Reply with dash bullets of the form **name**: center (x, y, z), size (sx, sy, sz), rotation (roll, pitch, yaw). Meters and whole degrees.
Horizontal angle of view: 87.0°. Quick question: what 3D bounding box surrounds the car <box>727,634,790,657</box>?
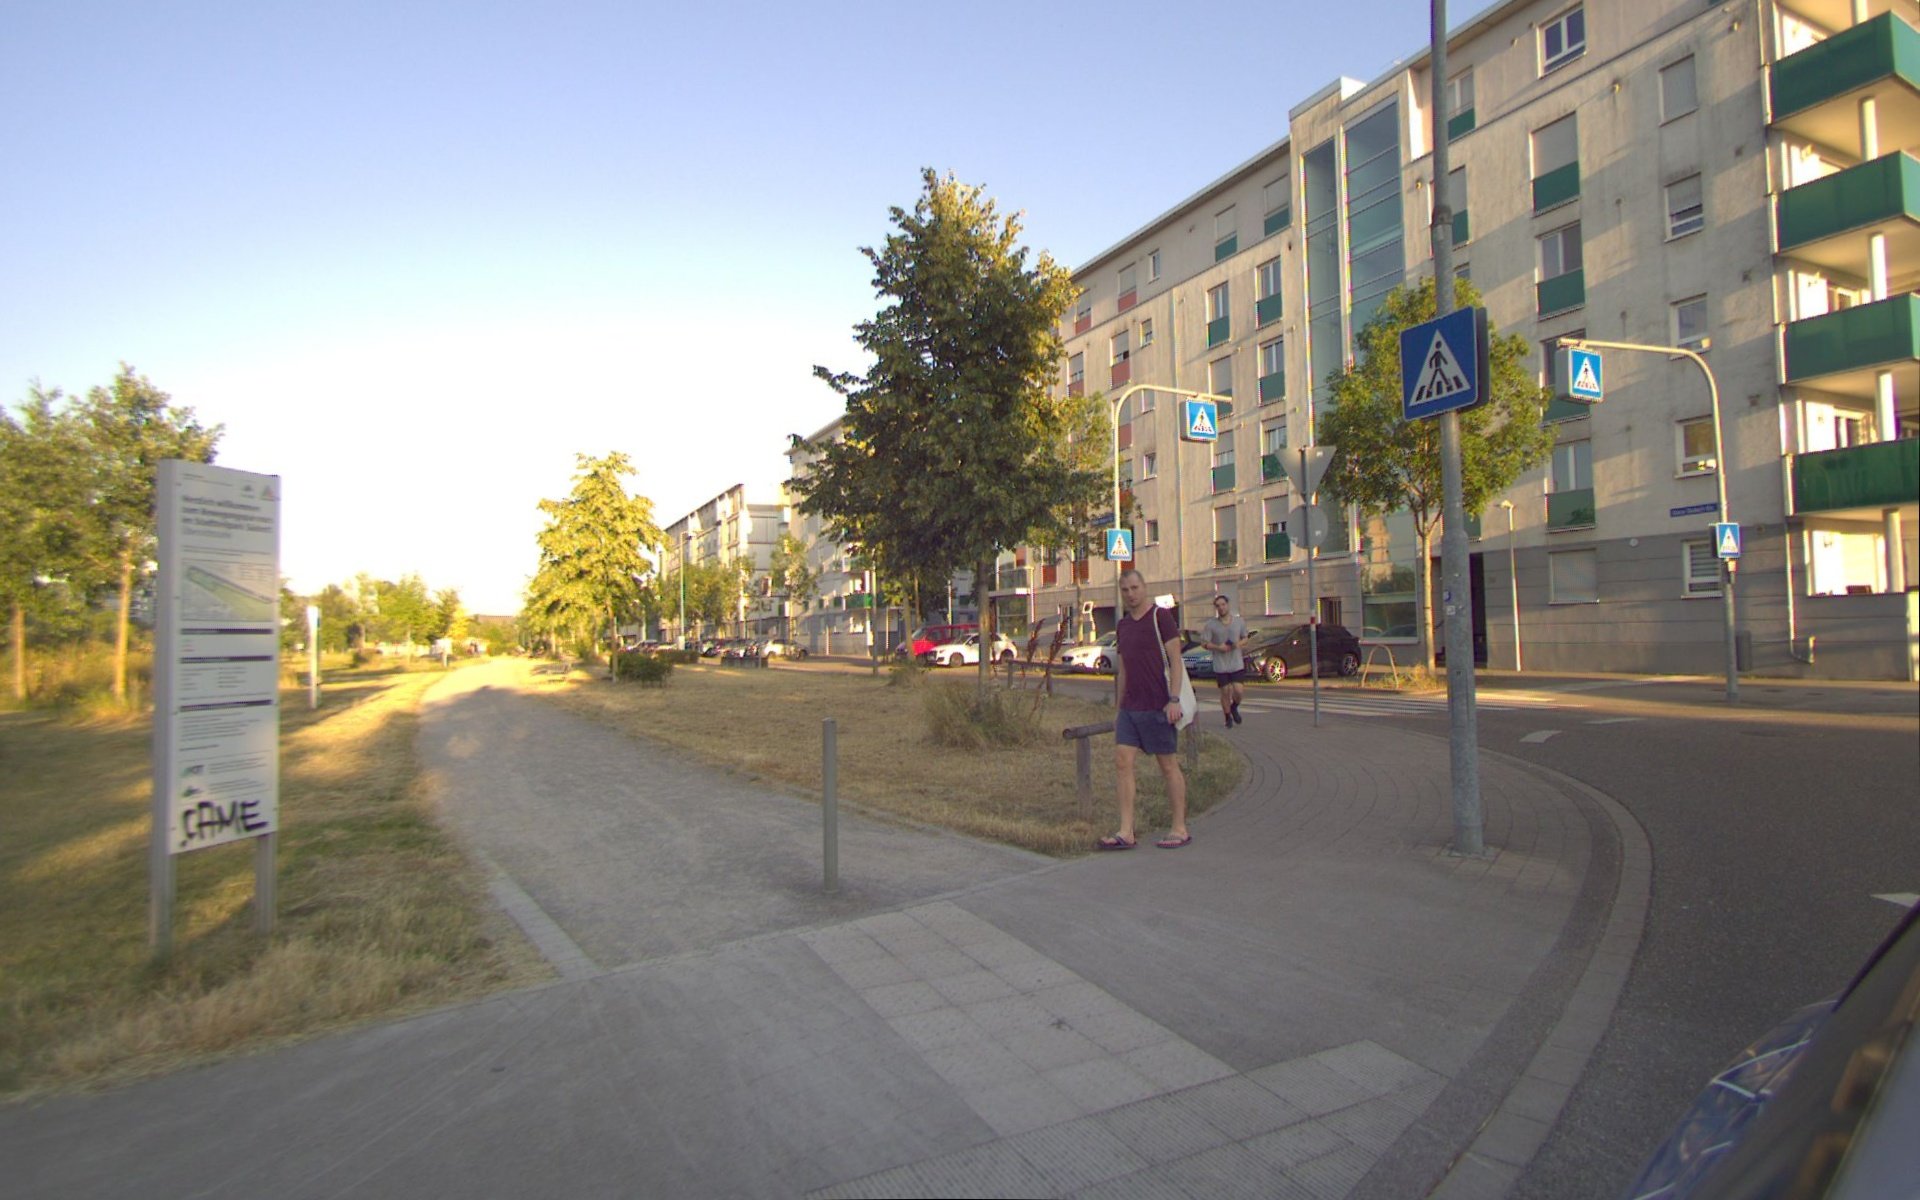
- **car**: center (-15.503, 3.497, 77.873), size (4.324, 1.613, 1.953), rotation (0, -3, -30)

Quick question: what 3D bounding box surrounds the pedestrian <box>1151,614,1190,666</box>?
- **pedestrian**: center (8.007, 1.520, 38.509), size (0.959, 1.919, 1.051), rotation (0, -3, -26)

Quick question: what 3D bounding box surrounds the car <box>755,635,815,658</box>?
- **car**: center (-12.723, 3.364, 73.561), size (3.876, 1.613, 1.780), rotation (0, -3, -30)

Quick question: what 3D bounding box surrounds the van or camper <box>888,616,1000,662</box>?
- **van or camper**: center (-0.742, 1.835, 48.303), size (5.027, 2.087, 1.879), rotation (0, -3, -28)

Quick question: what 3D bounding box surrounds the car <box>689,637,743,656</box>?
- **car**: center (-22.023, 4.206, 91.327), size (4.324, 1.613, 1.953), rotation (0, -3, -29)

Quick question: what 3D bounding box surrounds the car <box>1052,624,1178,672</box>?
- **car**: center (5.294, 1.608, 34.530), size (3.974, 1.499, 1.703), rotation (0, -3, -28)

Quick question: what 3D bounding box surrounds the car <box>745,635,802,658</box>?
- **car**: center (-13.944, 3.472, 75.703), size (3.876, 1.613, 1.780), rotation (0, -3, -30)

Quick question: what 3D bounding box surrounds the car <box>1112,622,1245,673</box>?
- **car**: center (6.996, 1.490, 32.392), size (3.974, 1.499, 1.703), rotation (0, -3, -28)

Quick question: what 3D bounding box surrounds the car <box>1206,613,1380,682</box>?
- **car**: center (9.015, 1.246, 27.339), size (4.391, 1.506, 1.835), rotation (-3, -1, -28)

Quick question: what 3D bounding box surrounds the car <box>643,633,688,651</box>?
- **car**: center (-31.811, 4.570, 109.211), size (4.325, 1.863, 1.953), rotation (0, -3, -31)

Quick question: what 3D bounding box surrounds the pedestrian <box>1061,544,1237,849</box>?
- **pedestrian**: center (1.202, 0.581, 6.531), size (0.785, 1.808, 0.735), rotation (0, -3, -28)

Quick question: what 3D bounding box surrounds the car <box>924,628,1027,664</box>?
- **car**: center (0.715, 2.058, 45.691), size (4.376, 1.541, 1.703), rotation (0, -3, -28)

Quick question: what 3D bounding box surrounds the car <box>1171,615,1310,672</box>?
- **car**: center (8.435, 1.274, 30.380), size (3.926, 1.391, 1.561), rotation (-3, -1, -28)

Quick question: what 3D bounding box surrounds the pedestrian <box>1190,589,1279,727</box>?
- **pedestrian**: center (3.614, 0.745, 13.352), size (0.751, 1.752, 0.803), rotation (0, -3, -22)
